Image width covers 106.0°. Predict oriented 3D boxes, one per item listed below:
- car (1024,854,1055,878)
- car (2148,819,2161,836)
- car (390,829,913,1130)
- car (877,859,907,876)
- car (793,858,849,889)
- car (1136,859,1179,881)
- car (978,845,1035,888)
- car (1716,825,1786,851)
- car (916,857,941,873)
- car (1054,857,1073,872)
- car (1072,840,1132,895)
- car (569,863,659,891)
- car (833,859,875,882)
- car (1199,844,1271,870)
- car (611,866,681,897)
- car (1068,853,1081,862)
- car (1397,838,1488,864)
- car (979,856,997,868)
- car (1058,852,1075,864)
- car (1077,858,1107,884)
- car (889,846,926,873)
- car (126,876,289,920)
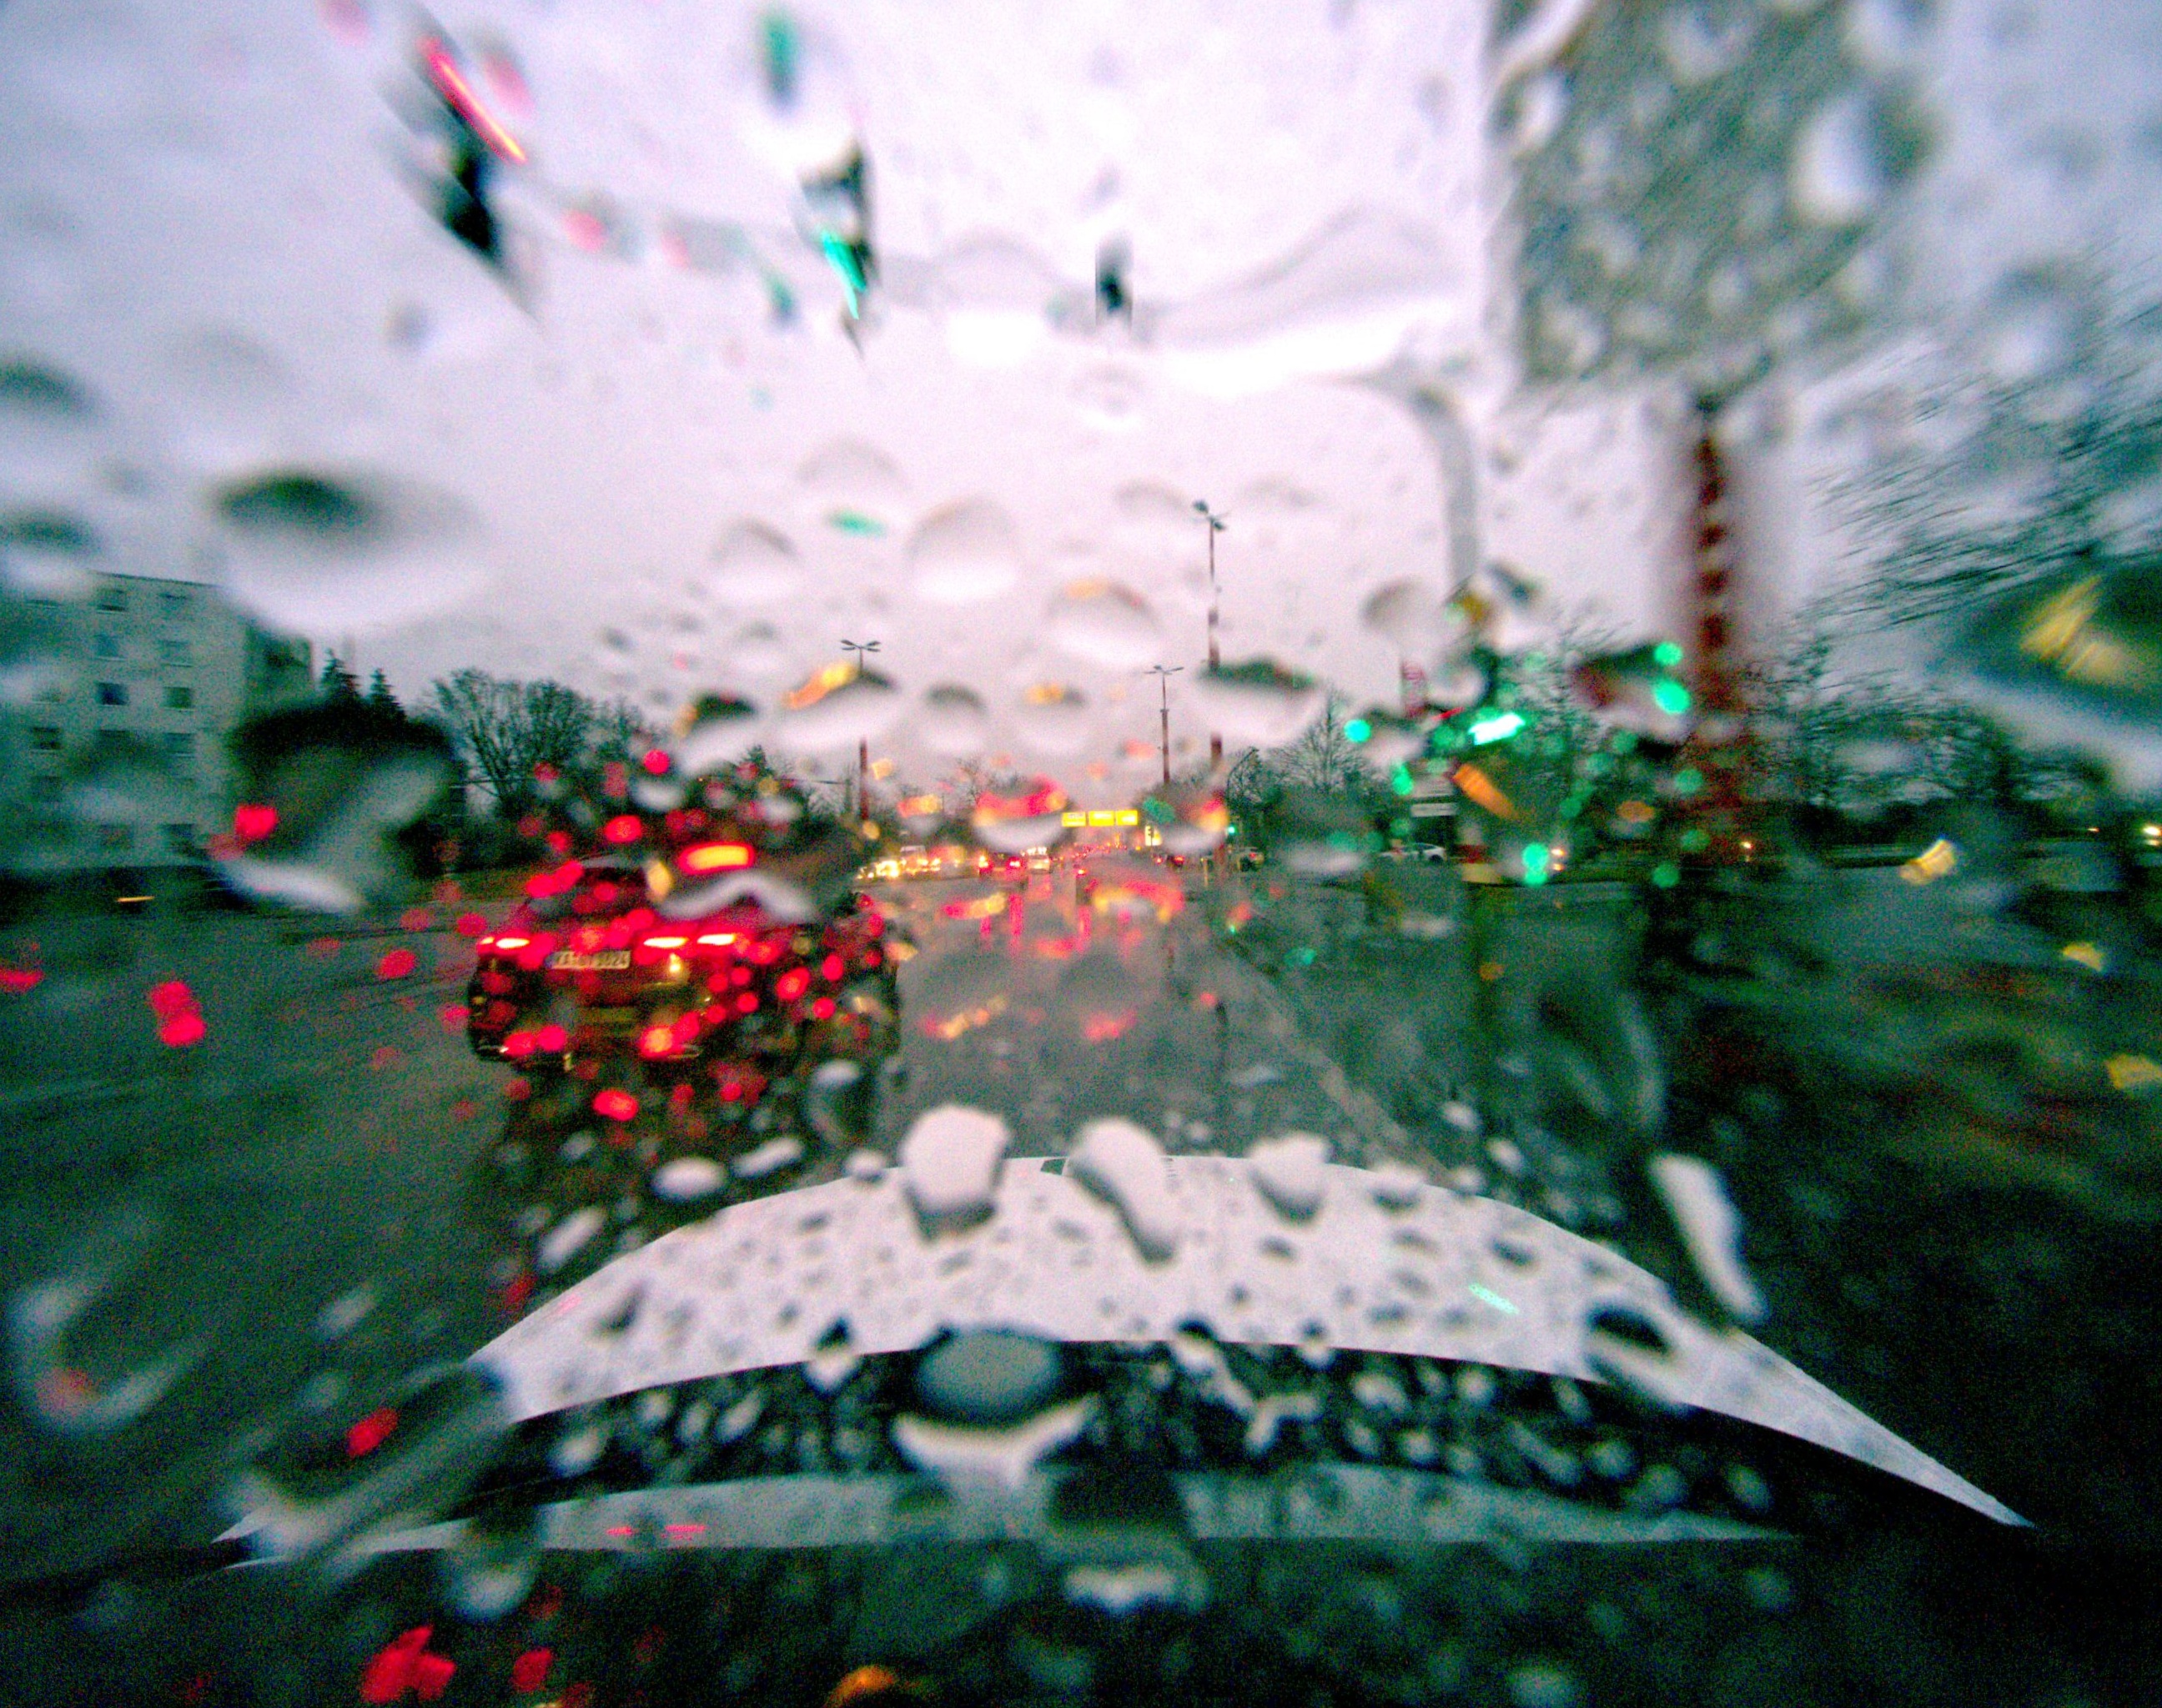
[{"bbox_3d":[-2.944,0.841,58.715,1.815,1.648,4.002,-2,0,2],"label":"car"},{"bbox_3d":[89.280,-2.197,66.143,3.880,1.345,1.651,-2,0,-13],"label":"car"},{"bbox_3d":[-2.883,0.706,6.808,1.815,1.648,4.469,-2,0,2],"label":"car"},{"bbox_3d":[-19.281,1.373,83.143,1.762,1.536,4.449,-2,0,3],"label":"car"},{"bbox_3d":[-14.819,1.084,46.688,1.851,1.581,4.079,-2,0,0],"label":"car"},{"bbox_3d":[5.746,1.180,61.647,1.935,1.648,4.446,0,-1,-13],"label":"car"},{"bbox_3d":[-3.087,0.504,34.482,1.815,1.648,4.002,-2,0,2],"label":"car"},{"bbox_3d":[45.810,-1.101,55.718,3.880,1.635,1.651,-2,0,-13],"label":"car"},{"bbox_3d":[-16.299,1.177,87.333,1.763,1.586,4.034,-2,0,1],"label":"car"},{"bbox_3d":[-1.589,0.942,74.548,1.499,1.339,4.002,-2,0,2],"label":"car"},{"bbox_3d":[0.761,0.405,27.633,1.815,1.648,4.469,-2,0,2],"label":"car"},{"bbox_3d":[-28.965,1.392,50.687,1.976,1.529,4.622,-2,0,21],"label":"car"},{"bbox_3d":[-17.024,1.231,61.360,1.763,1.533,4.526,-2,0,1],"label":"car"},{"bbox_3d":[10.239,0.221,54.289,4.353,1.618,1.833,-2,0,38],"label":"car"},{"bbox_3d":[-24.275,1.496,45.636,1.612,1.495,4.018,-2,0,2],"label":"car"},{"bbox_3d":[-1.033,0.603,134.344,1.986,1.577,4.002,0,-1,2],"label":"car"},{"bbox_3d":[21.742,-0.182,49.103,4.708,1.376,1.889,-2,0,12],"label":"car"},{"bbox_3d":[-12.700,1.050,111.320,1.763,1.536,4.842,-2,0,1],"label":"car"},{"bbox_3d":[-1.855,0.497,105.342,1.815,1.504,4.002,-2,0,2],"label":"car"},{"bbox_3d":[0.793,1.124,55.472,1.986,1.662,4.002,0,-1,2],"label":"car"},{"bbox_3d":[-20.079,0.664,94.634,2.282,3.005,7.352,0,-1,3],"label":"car"},{"bbox_3d":[-36.421,1.791,34.055,1.974,1.529,4.513,-2,0,39],"label":"car"}]
